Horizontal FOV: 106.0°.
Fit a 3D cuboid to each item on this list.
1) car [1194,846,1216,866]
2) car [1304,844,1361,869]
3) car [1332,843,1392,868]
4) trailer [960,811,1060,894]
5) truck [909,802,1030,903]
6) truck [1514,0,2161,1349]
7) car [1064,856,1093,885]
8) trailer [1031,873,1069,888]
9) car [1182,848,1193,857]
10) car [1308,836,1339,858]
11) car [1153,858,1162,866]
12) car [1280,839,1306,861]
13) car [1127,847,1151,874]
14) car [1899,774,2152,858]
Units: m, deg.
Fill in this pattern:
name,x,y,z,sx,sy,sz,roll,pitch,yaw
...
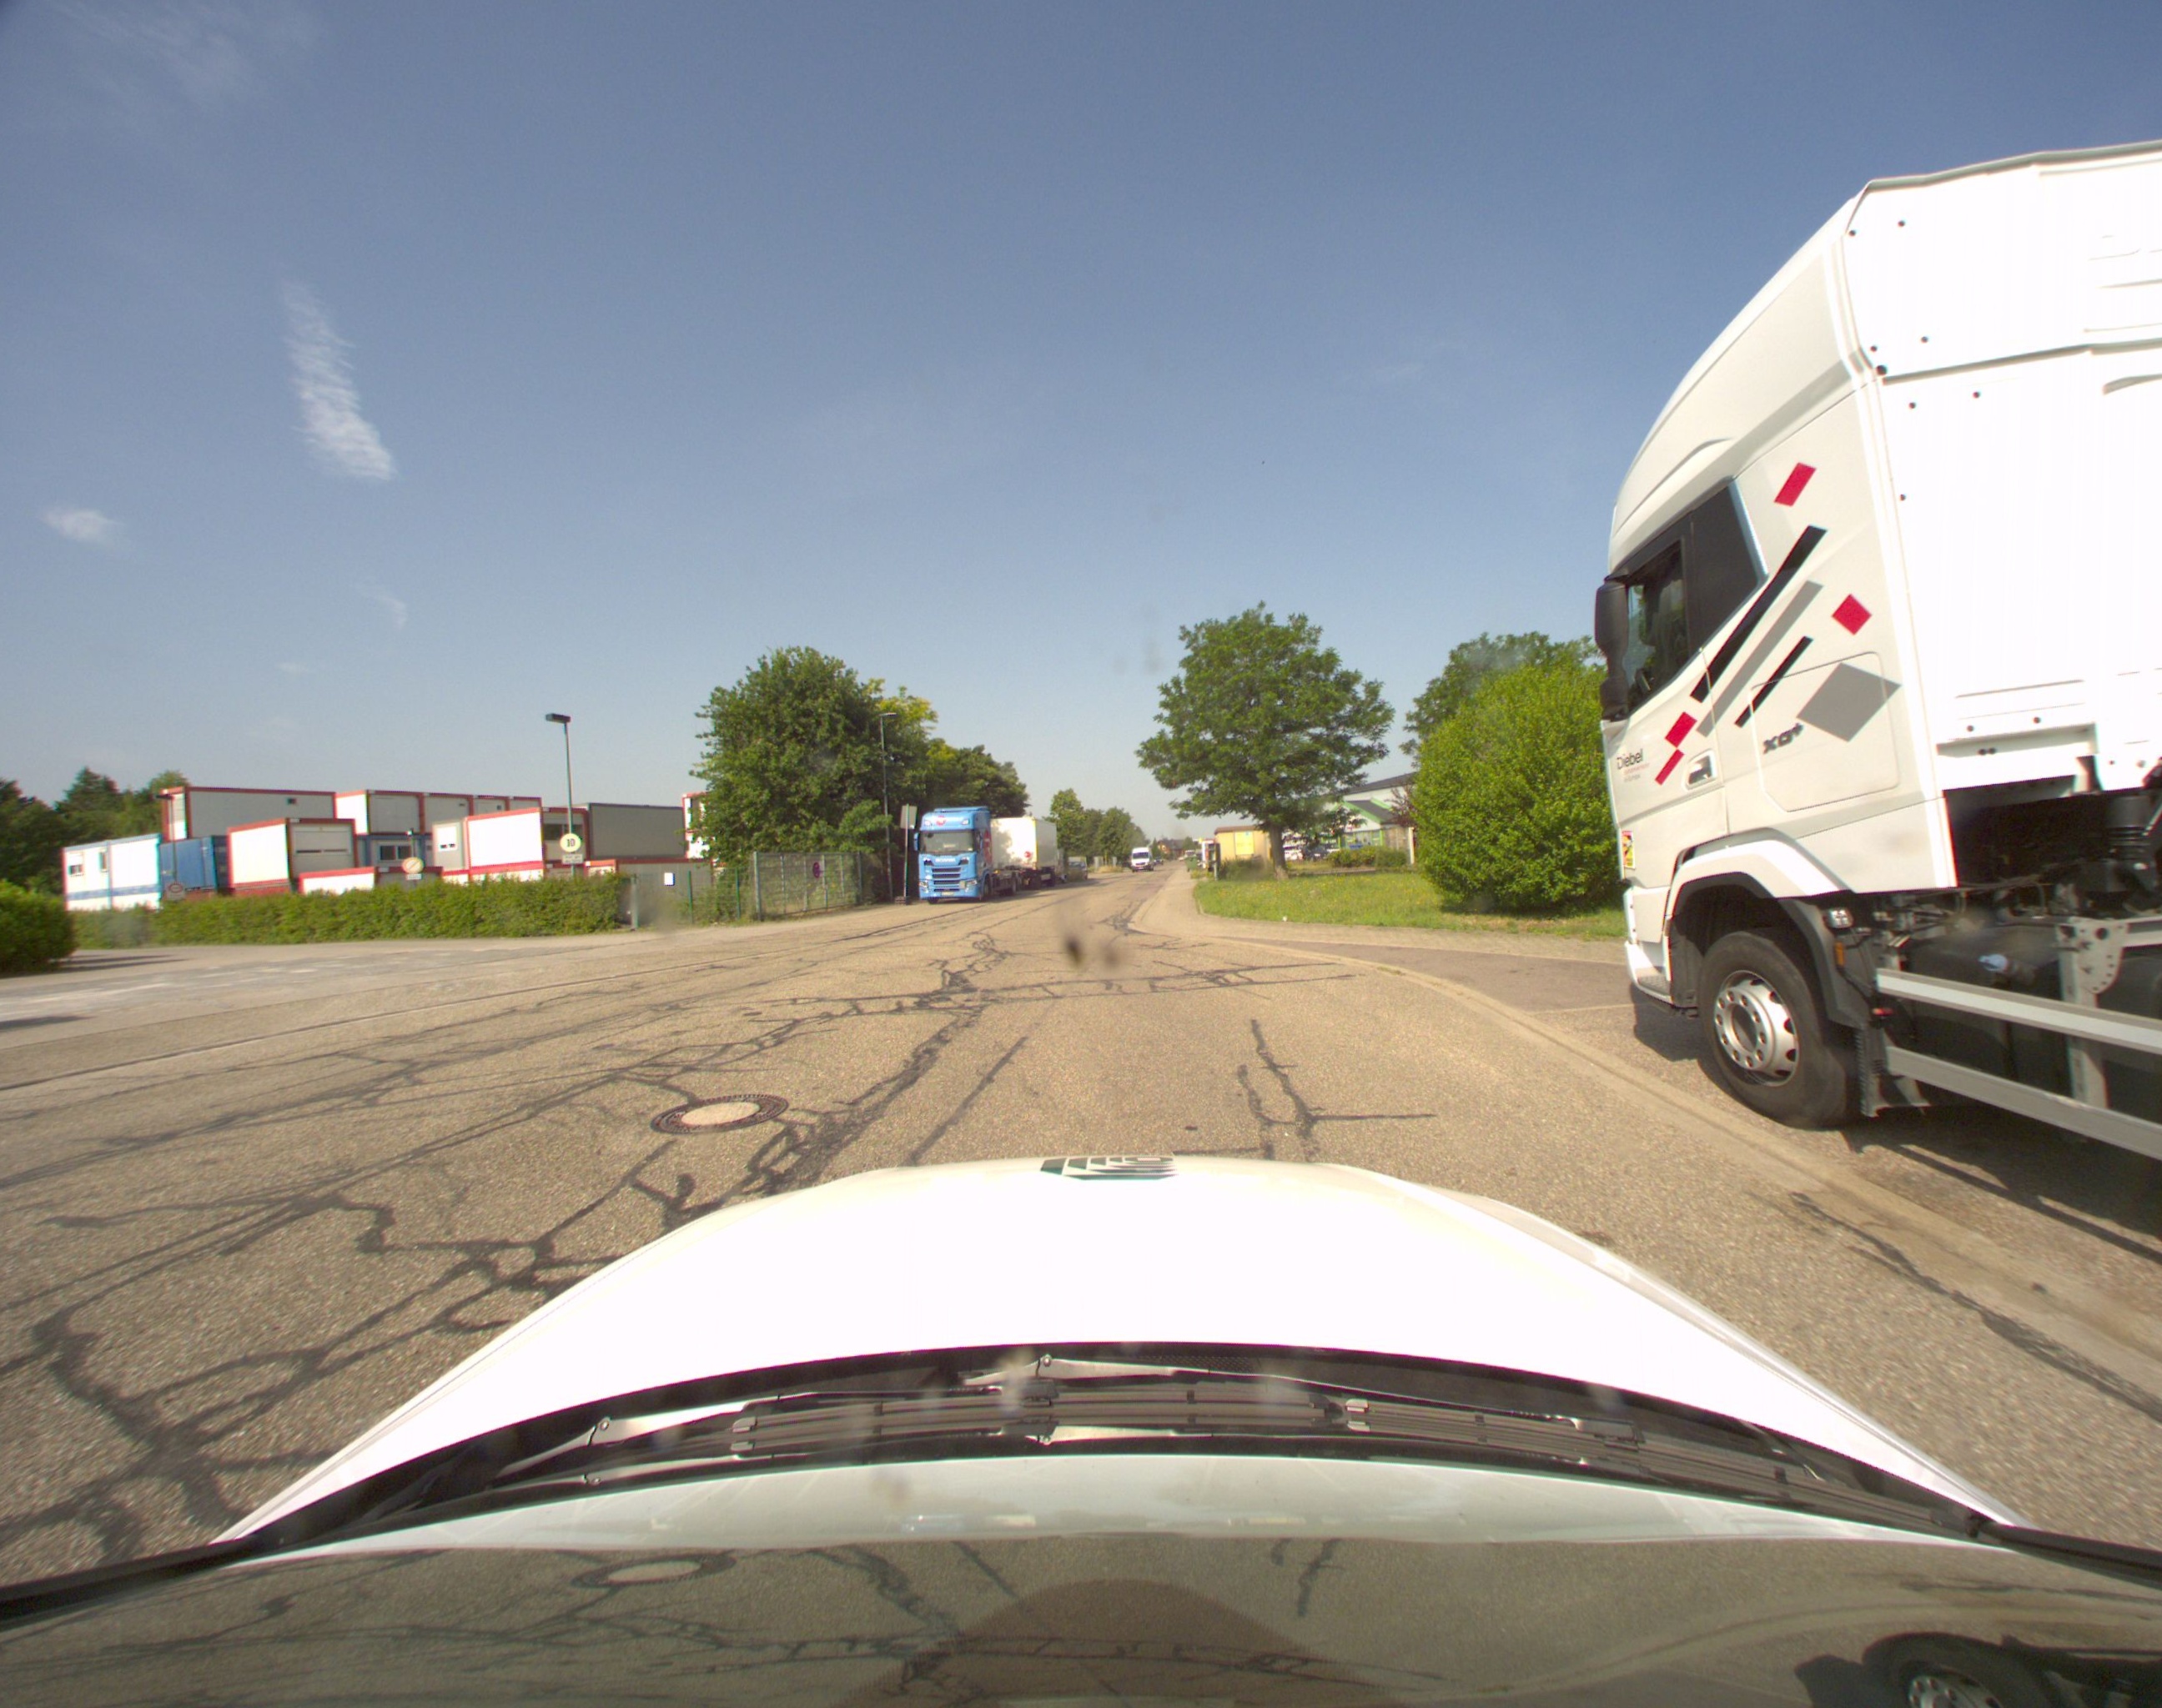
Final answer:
name,x,y,z,sx,sy,sz,roll,pitch,yaw
car,11.412,0.248,75.015,1.782,1.750,4.007,-2,-1,7
car,14.385,0.189,46.740,1.667,1.330,3.652,-1,-1,-9
car,16.215,0.108,47.158,1.748,1.373,3.652,-1,-1,-9
trailer,-3.537,0.027,44.441,2.816,3.843,12.060,-2,-1,7
truck,-4.624,0.023,36.190,2.810,3.826,9.691,-2,-1,7
truck,4.423,-0.722,3.740,2.731,3.981,4.009,-6,-1,8
car,-0.231,1.197,61.802,1.989,2.013,3.996,-3,0,-2
trailer,-1.988,1.759,53.986,1.886,0.760,4.007,-3,0,7
car,23.016,-0.344,176.429,1.766,1.815,3.996,-1,-1,-2
car,19.329,-0.537,65.070,1.782,1.640,4.009,-2,-1,8
car,15.462,1.667,165.192,1.633,1.662,4.001,-1,-1,2
car,17.037,-0.285,65.585,1.706,1.618,4.012,-2,-1,11
car,6.124,0.715,86.971,2.206,2.686,6.854,-1,-1,1
car,21.111,-0.824,18.292,3.984,1.706,1.820,-1,-1,-8
